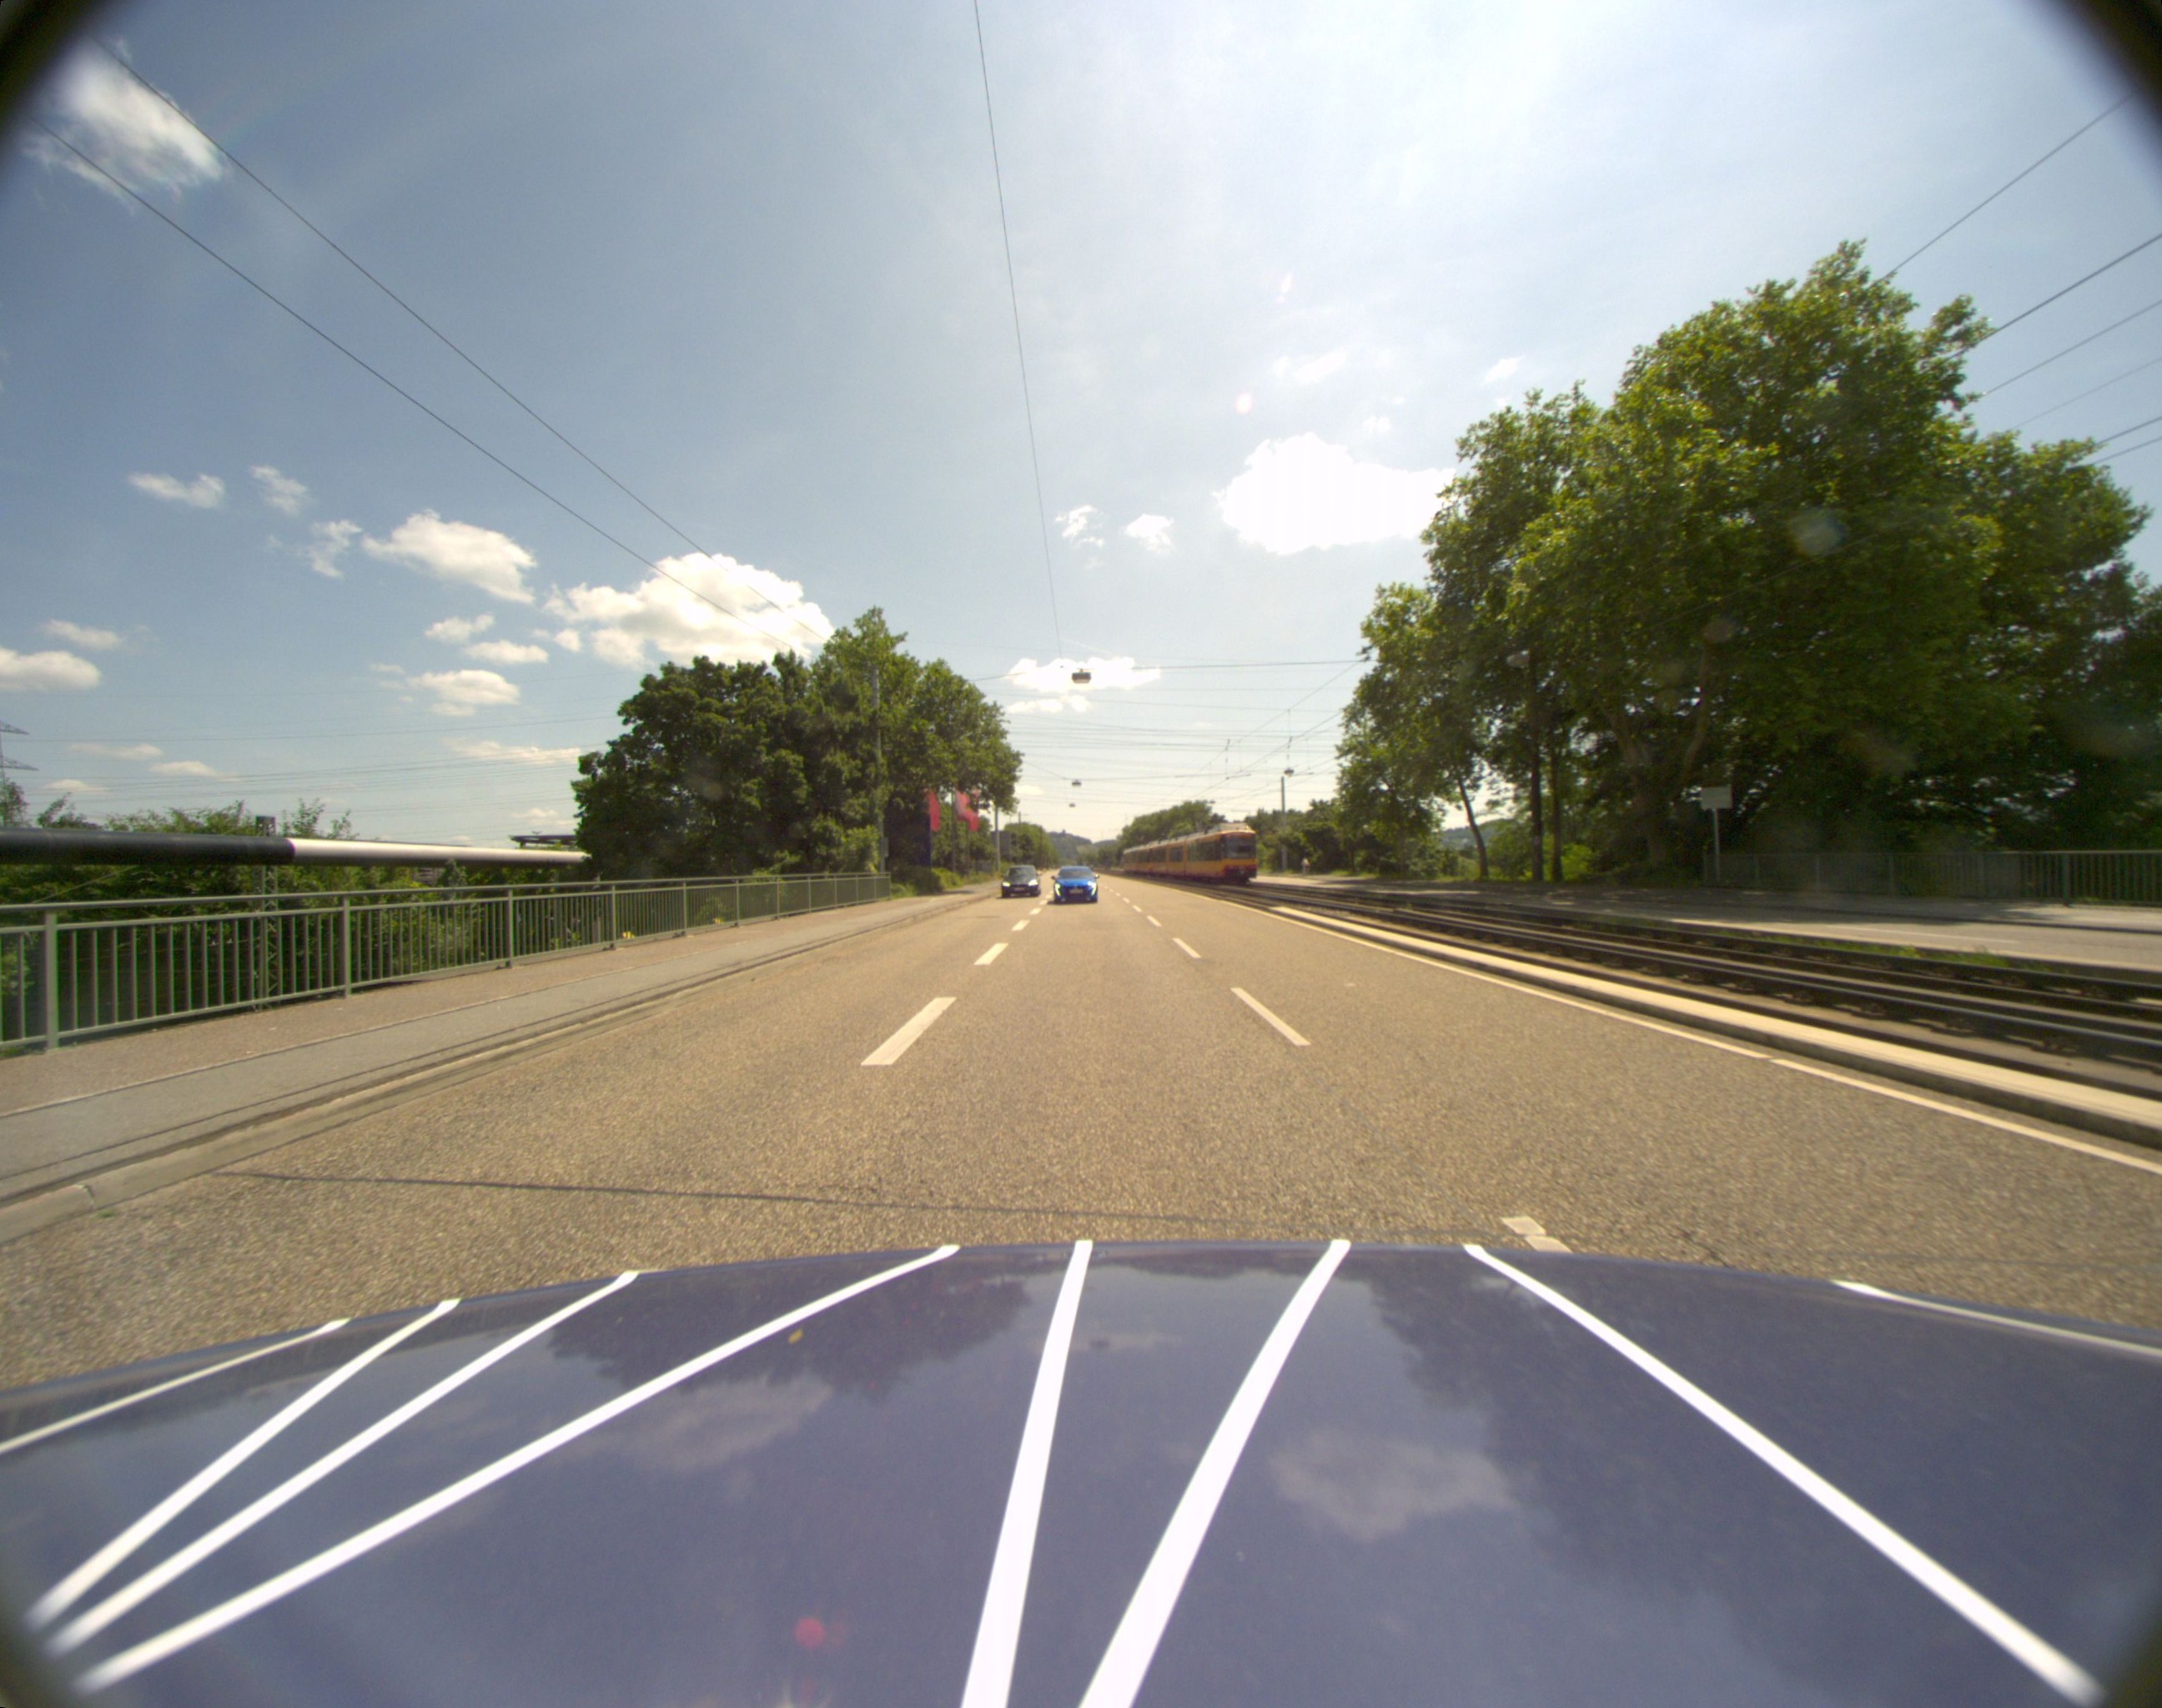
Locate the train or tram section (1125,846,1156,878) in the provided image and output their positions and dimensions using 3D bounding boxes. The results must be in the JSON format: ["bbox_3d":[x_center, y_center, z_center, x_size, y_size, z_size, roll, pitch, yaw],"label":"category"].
[{"bbox_3d":[8.596,1.188,112.393,3.056,4.241,15.422,-1,-1,-1],"label":"train or tram section"}]

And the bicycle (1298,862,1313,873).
[{"bbox_3d":[21.042,1.251,71.221,0.712,0.912,2.183,-2,0,0],"label":"bicycle"}]

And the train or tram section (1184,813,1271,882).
[{"bbox_3d":[9.829,-0.320,52.970,3.046,4.116,13.981,-1,0,-1],"label":"train or tram section"}]

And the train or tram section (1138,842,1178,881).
[{"bbox_3d":[9.068,0.950,91.074,3.056,4.241,14.035,-1,-1,-1],"label":"train or tram section"}]

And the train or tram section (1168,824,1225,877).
[{"bbox_3d":[9.583,-0.220,64.246,3.046,4.124,10.232,-1,0,-1],"label":"train or tram section"}]

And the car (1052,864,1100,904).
[{"bbox_3d":[-0.209,1.195,31.251,1.771,1.463,4.467,-2,-1,0],"label":"car"}]

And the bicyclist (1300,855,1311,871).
[{"bbox_3d":[21.027,0.848,71.221,0.712,1.475,0.918,-2,0,0],"label":"bicyclist"}]

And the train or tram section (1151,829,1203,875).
[{"bbox_3d":[9.283,-0.131,75.473,3.046,4.130,13.480,-1,0,-2],"label":"train or tram section"}]

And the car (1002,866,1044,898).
[{"bbox_3d":[-2.854,1.344,37.913,1.771,1.422,4.000,-2,-1,0],"label":"car"}]

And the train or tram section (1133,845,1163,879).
[{"bbox_3d":[8.833,1.066,101.225,3.056,4.242,8.002,-1,0,-1],"label":"train or tram section"}]
